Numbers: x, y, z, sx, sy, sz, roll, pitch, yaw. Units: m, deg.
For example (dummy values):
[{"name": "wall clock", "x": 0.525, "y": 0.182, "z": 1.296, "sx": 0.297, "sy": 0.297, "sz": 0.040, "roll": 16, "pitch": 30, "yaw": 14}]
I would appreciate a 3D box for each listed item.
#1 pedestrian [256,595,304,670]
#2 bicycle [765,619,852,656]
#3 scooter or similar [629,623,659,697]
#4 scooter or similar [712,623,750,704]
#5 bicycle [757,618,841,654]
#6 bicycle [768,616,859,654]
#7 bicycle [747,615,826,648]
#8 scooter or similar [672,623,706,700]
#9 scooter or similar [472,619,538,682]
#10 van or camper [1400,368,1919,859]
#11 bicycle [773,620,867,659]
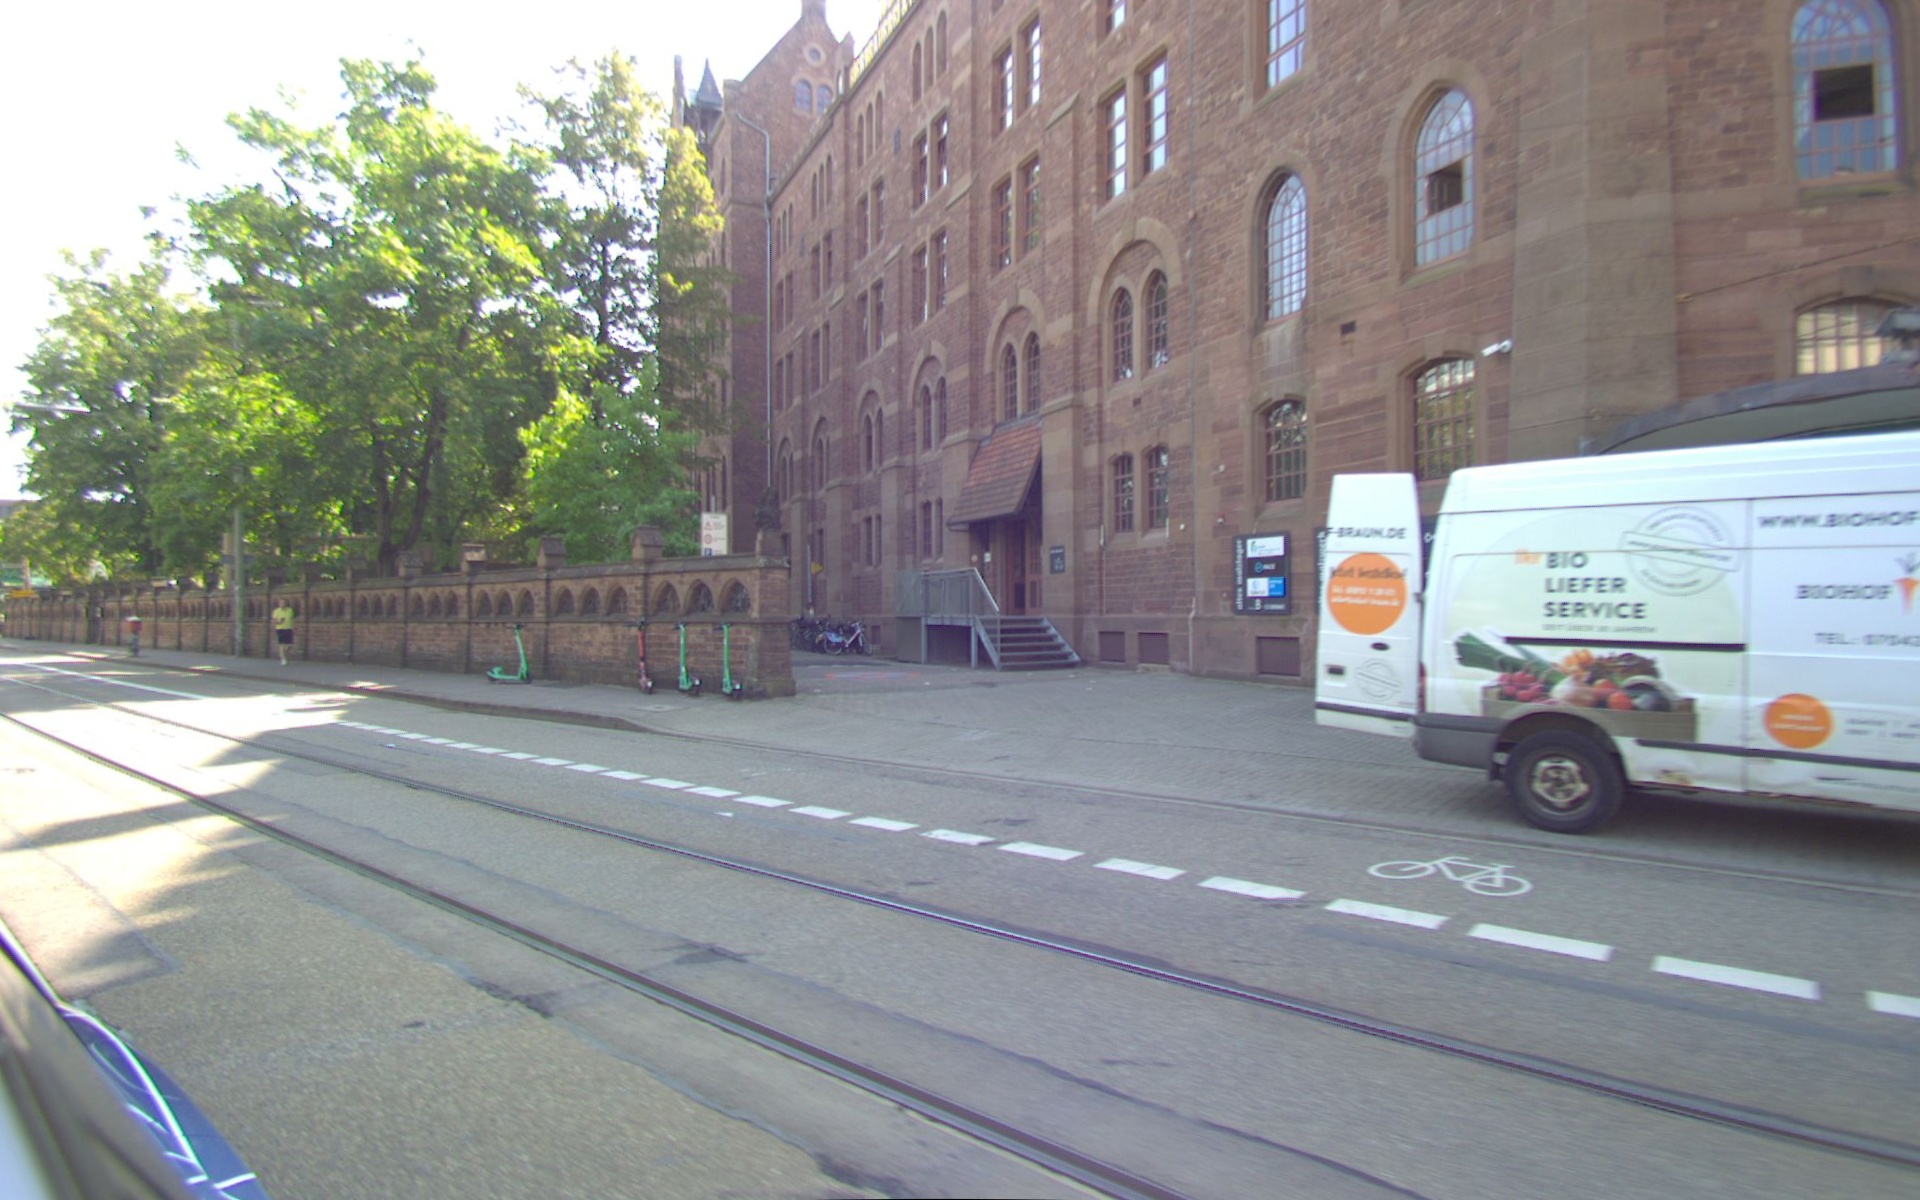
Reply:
[{"name": "pedestrian", "x": -18.866, "y": 0.892, "z": 28.081, "sx": 0.982, "sy": 2.029, "sz": 0.856, "roll": -1, "pitch": -1, "yaw": 38}, {"name": "bicycle", "x": -4.857, "y": 1.201, "z": 32.438, "sx": 2.642, "sy": 1.105, "sz": 0.904, "roll": -1, "pitch": -1, "yaw": -21}, {"name": "scooter or similar", "x": -5.361, "y": 0.993, "z": 17.135, "sx": 0.334, "sy": 1.187, "sz": 1.182, "roll": 0, "pitch": -1, "yaw": -25}, {"name": "scooter or similar", "x": -3.561, "y": 0.960, "z": 15.697, "sx": 0.334, "sy": 1.187, "sz": 1.182, "roll": 0, "pitch": -1, "yaw": -25}, {"name": "bicycle", "x": -5.386, "y": 1.192, "z": 33.841, "sx": 2.642, "sy": 1.105, "sz": 0.904, "roll": -1, "pitch": -1, "yaw": -21}, {"name": "bicycle", "x": -4.540, "y": 1.072, "z": 31.358, "sx": 2.642, "sy": 1.105, "sz": 0.904, "roll": -1, "pitch": -1, "yaw": -21}, {"name": "bicycle", "x": -6.248, "y": 1.131, "z": 36.436, "sx": 2.642, "sy": 1.105, "sz": 0.904, "roll": -1, "pitch": -1, "yaw": -21}, {"name": "scooter or similar", "x": -4.413, "y": 0.976, "z": 16.444, "sx": 0.334, "sy": 1.187, "sz": 1.182, "roll": 0, "pitch": -1, "yaw": -25}, {"name": "scooter or similar", "x": -8.845, "y": 0.964, "z": 19.672, "sx": 1.309, "sy": 1.187, "sz": 0.418, "roll": -1, "pitch": -1, "yaw": 25}, {"name": "van or camper", "x": 6.137, "y": 0.069, "z": 6.192, "sx": 5.953, "sy": 2.695, "sz": 2.090, "roll": -1, "pitch": -1, "yaw": 42}, {"name": "bicycle", "x": -4.199, "y": 1.168, "z": 30.428, "sx": 2.642, "sy": 1.105, "sz": 0.904, "roll": -1, "pitch": -1, "yaw": -21}]
